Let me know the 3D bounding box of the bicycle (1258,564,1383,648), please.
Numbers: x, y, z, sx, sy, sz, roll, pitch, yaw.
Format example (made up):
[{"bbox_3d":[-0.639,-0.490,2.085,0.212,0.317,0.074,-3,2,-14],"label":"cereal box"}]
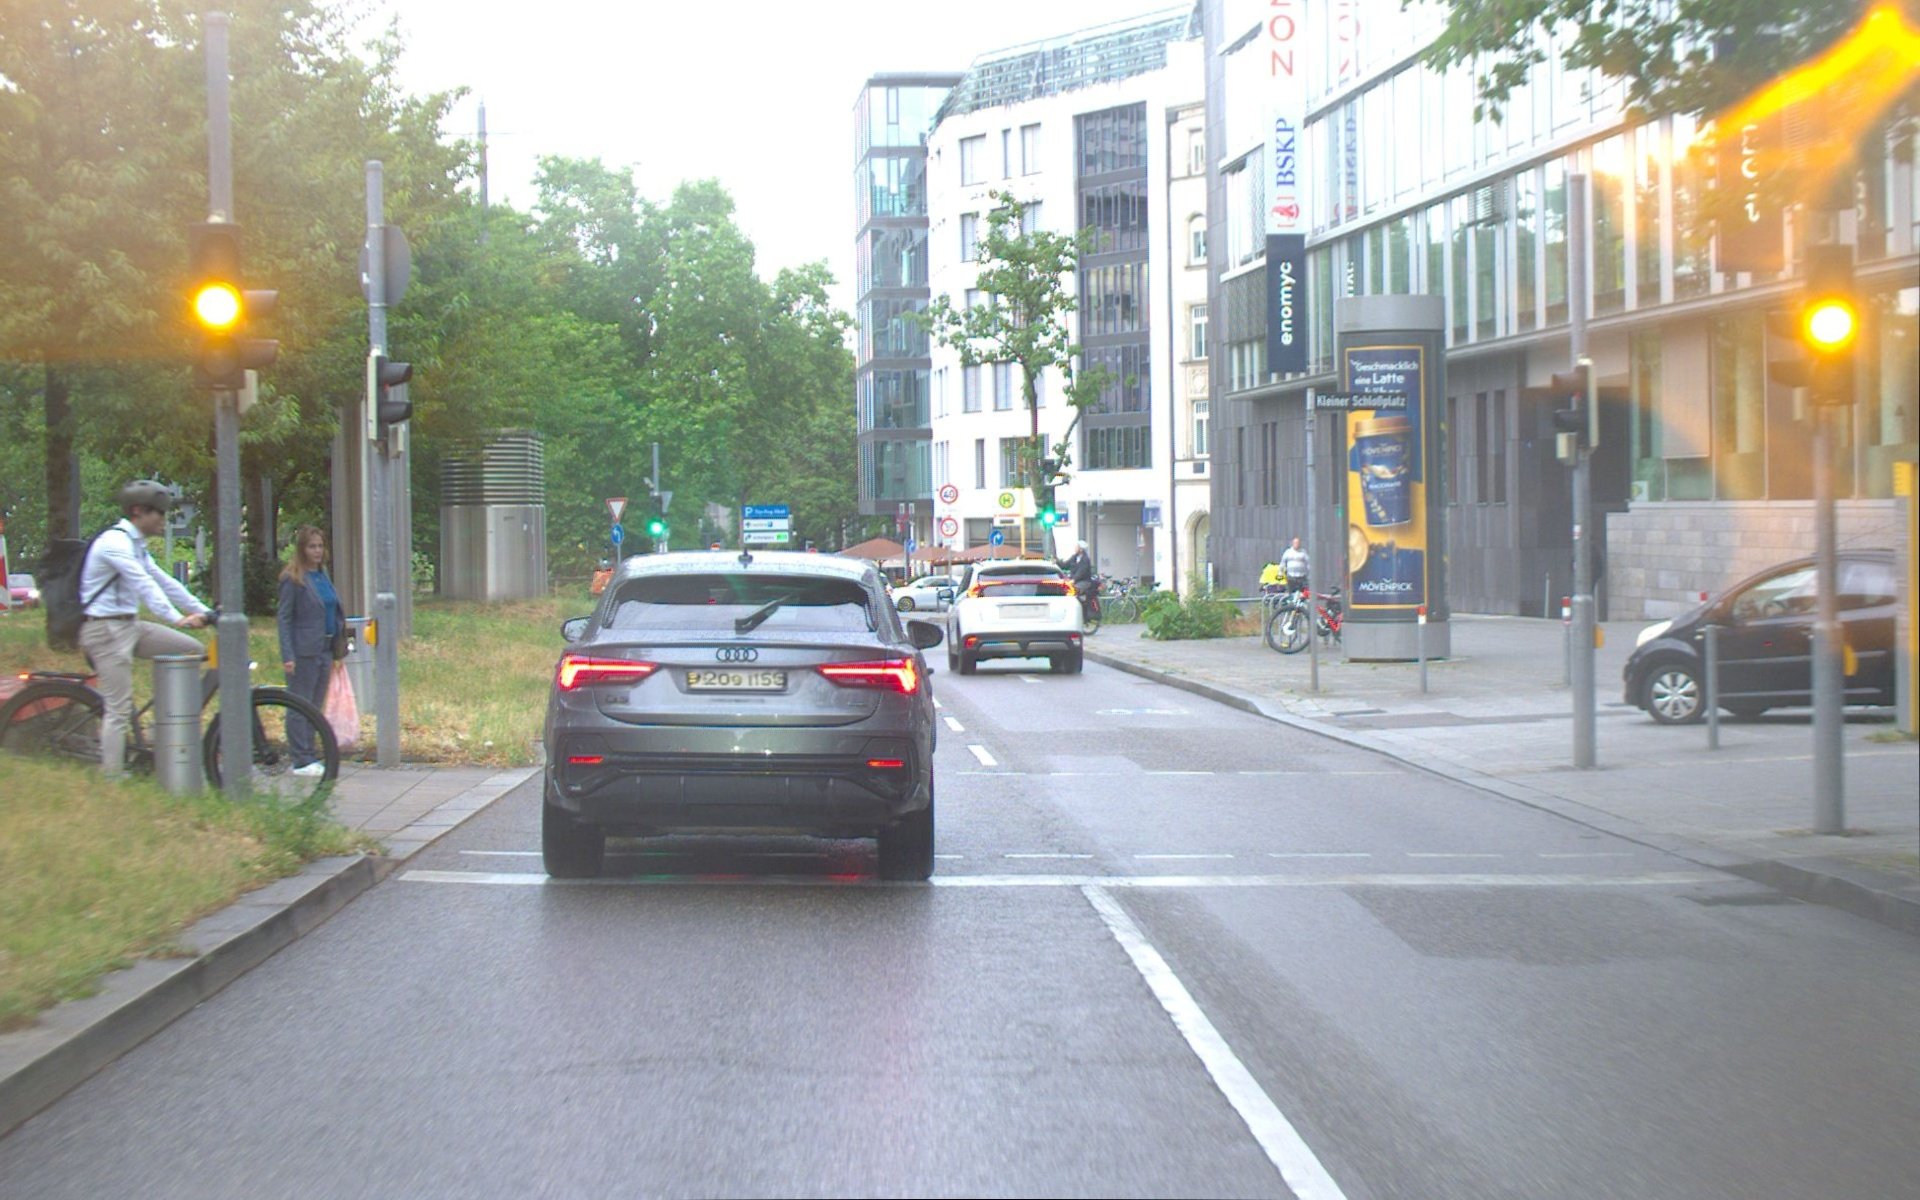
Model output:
[{"bbox_3d":[5.515,0.089,52.674,1.836,1.193,0.660,-2,1,3],"label":"bicycle"}]

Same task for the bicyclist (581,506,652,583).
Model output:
[{"bbox_3d":[-7.207,-1.158,72.163,1.133,1.577,1.014,2,0,20],"label":"bicyclist"}]

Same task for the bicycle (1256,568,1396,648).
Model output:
[{"bbox_3d":[5.403,0.110,50.820,1.984,1.100,0.808,-2,1,3],"label":"bicycle"}]

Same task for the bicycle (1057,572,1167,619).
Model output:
[{"bbox_3d":[3.586,-0.111,81.217,2.535,1.084,0.677,1,0,-5],"label":"bicycle"}]

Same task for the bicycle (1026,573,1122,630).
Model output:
[{"bbox_3d":[2.416,0.031,72.524,0.762,1.141,2.127,-2,0,44],"label":"bicycle"}]

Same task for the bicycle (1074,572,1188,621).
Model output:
[{"bbox_3d":[3.920,-0.074,78.937,2.535,1.053,0.677,-1,0,-5],"label":"bicycle"}]

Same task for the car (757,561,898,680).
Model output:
[{"bbox_3d":[-1.909,0.266,49.995,1.945,1.641,4.245,-1,1,-2],"label":"car"}]

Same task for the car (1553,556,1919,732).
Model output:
[{"bbox_3d":[7.151,0.342,29.216,3.830,1.412,1.632,0,1,38],"label":"car"}]

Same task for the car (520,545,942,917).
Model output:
[{"bbox_3d":[-1.029,0.543,17.220,1.848,1.610,4.253,0,1,-1],"label":"car"}]

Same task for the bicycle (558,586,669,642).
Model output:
[{"bbox_3d":[-7.269,0.282,72.170,2.062,1.110,1.011,2,0,19],"label":"bicycle"}]

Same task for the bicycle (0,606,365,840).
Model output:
[{"bbox_3d":[-4.272,0.649,18.496,1.971,1.135,0.777,2,1,0],"label":"bicycle"}]

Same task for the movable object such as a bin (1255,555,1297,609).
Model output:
[{"bbox_3d":[7.677,-0.437,83.623,0.731,1.259,1.444,-3,1,-3],"label":"movable object such as a bin"}]

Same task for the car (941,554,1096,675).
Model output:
[{"bbox_3d":[0.816,0.183,50.615,2.179,1.695,4.000,-1,1,0],"label":"car"}]

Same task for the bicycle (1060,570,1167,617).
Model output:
[{"bbox_3d":[3.751,-0.159,84.108,2.535,1.083,0.677,-2,0,-5],"label":"bicycle"}]

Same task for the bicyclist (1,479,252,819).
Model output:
[{"bbox_3d":[-4.468,0.261,18.489,1.076,1.743,0.812,2,-1,0],"label":"bicyclist"}]

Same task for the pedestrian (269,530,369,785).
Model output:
[{"bbox_3d":[-4.285,0.370,23.025,0.527,1.680,0.721,0,1,0],"label":"pedestrian"}]

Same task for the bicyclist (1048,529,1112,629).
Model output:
[{"bbox_3d":[2.532,-0.447,72.639,0.762,2.076,1.082,-2,0,44],"label":"bicyclist"}]

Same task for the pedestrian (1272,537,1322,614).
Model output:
[{"bbox_3d":[8.065,-0.581,82.228,0.900,1.786,1.047,-3,1,-6],"label":"pedestrian"}]

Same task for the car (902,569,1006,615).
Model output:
[{"bbox_3d":[-0.259,-0.333,139.249,3.986,1.641,2.000,3,0,-4],"label":"car"}]

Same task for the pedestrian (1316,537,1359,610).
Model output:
[{"bbox_3d":[9.048,-0.640,82.366,0.718,1.684,1.100,-3,1,-6],"label":"pedestrian"}]
